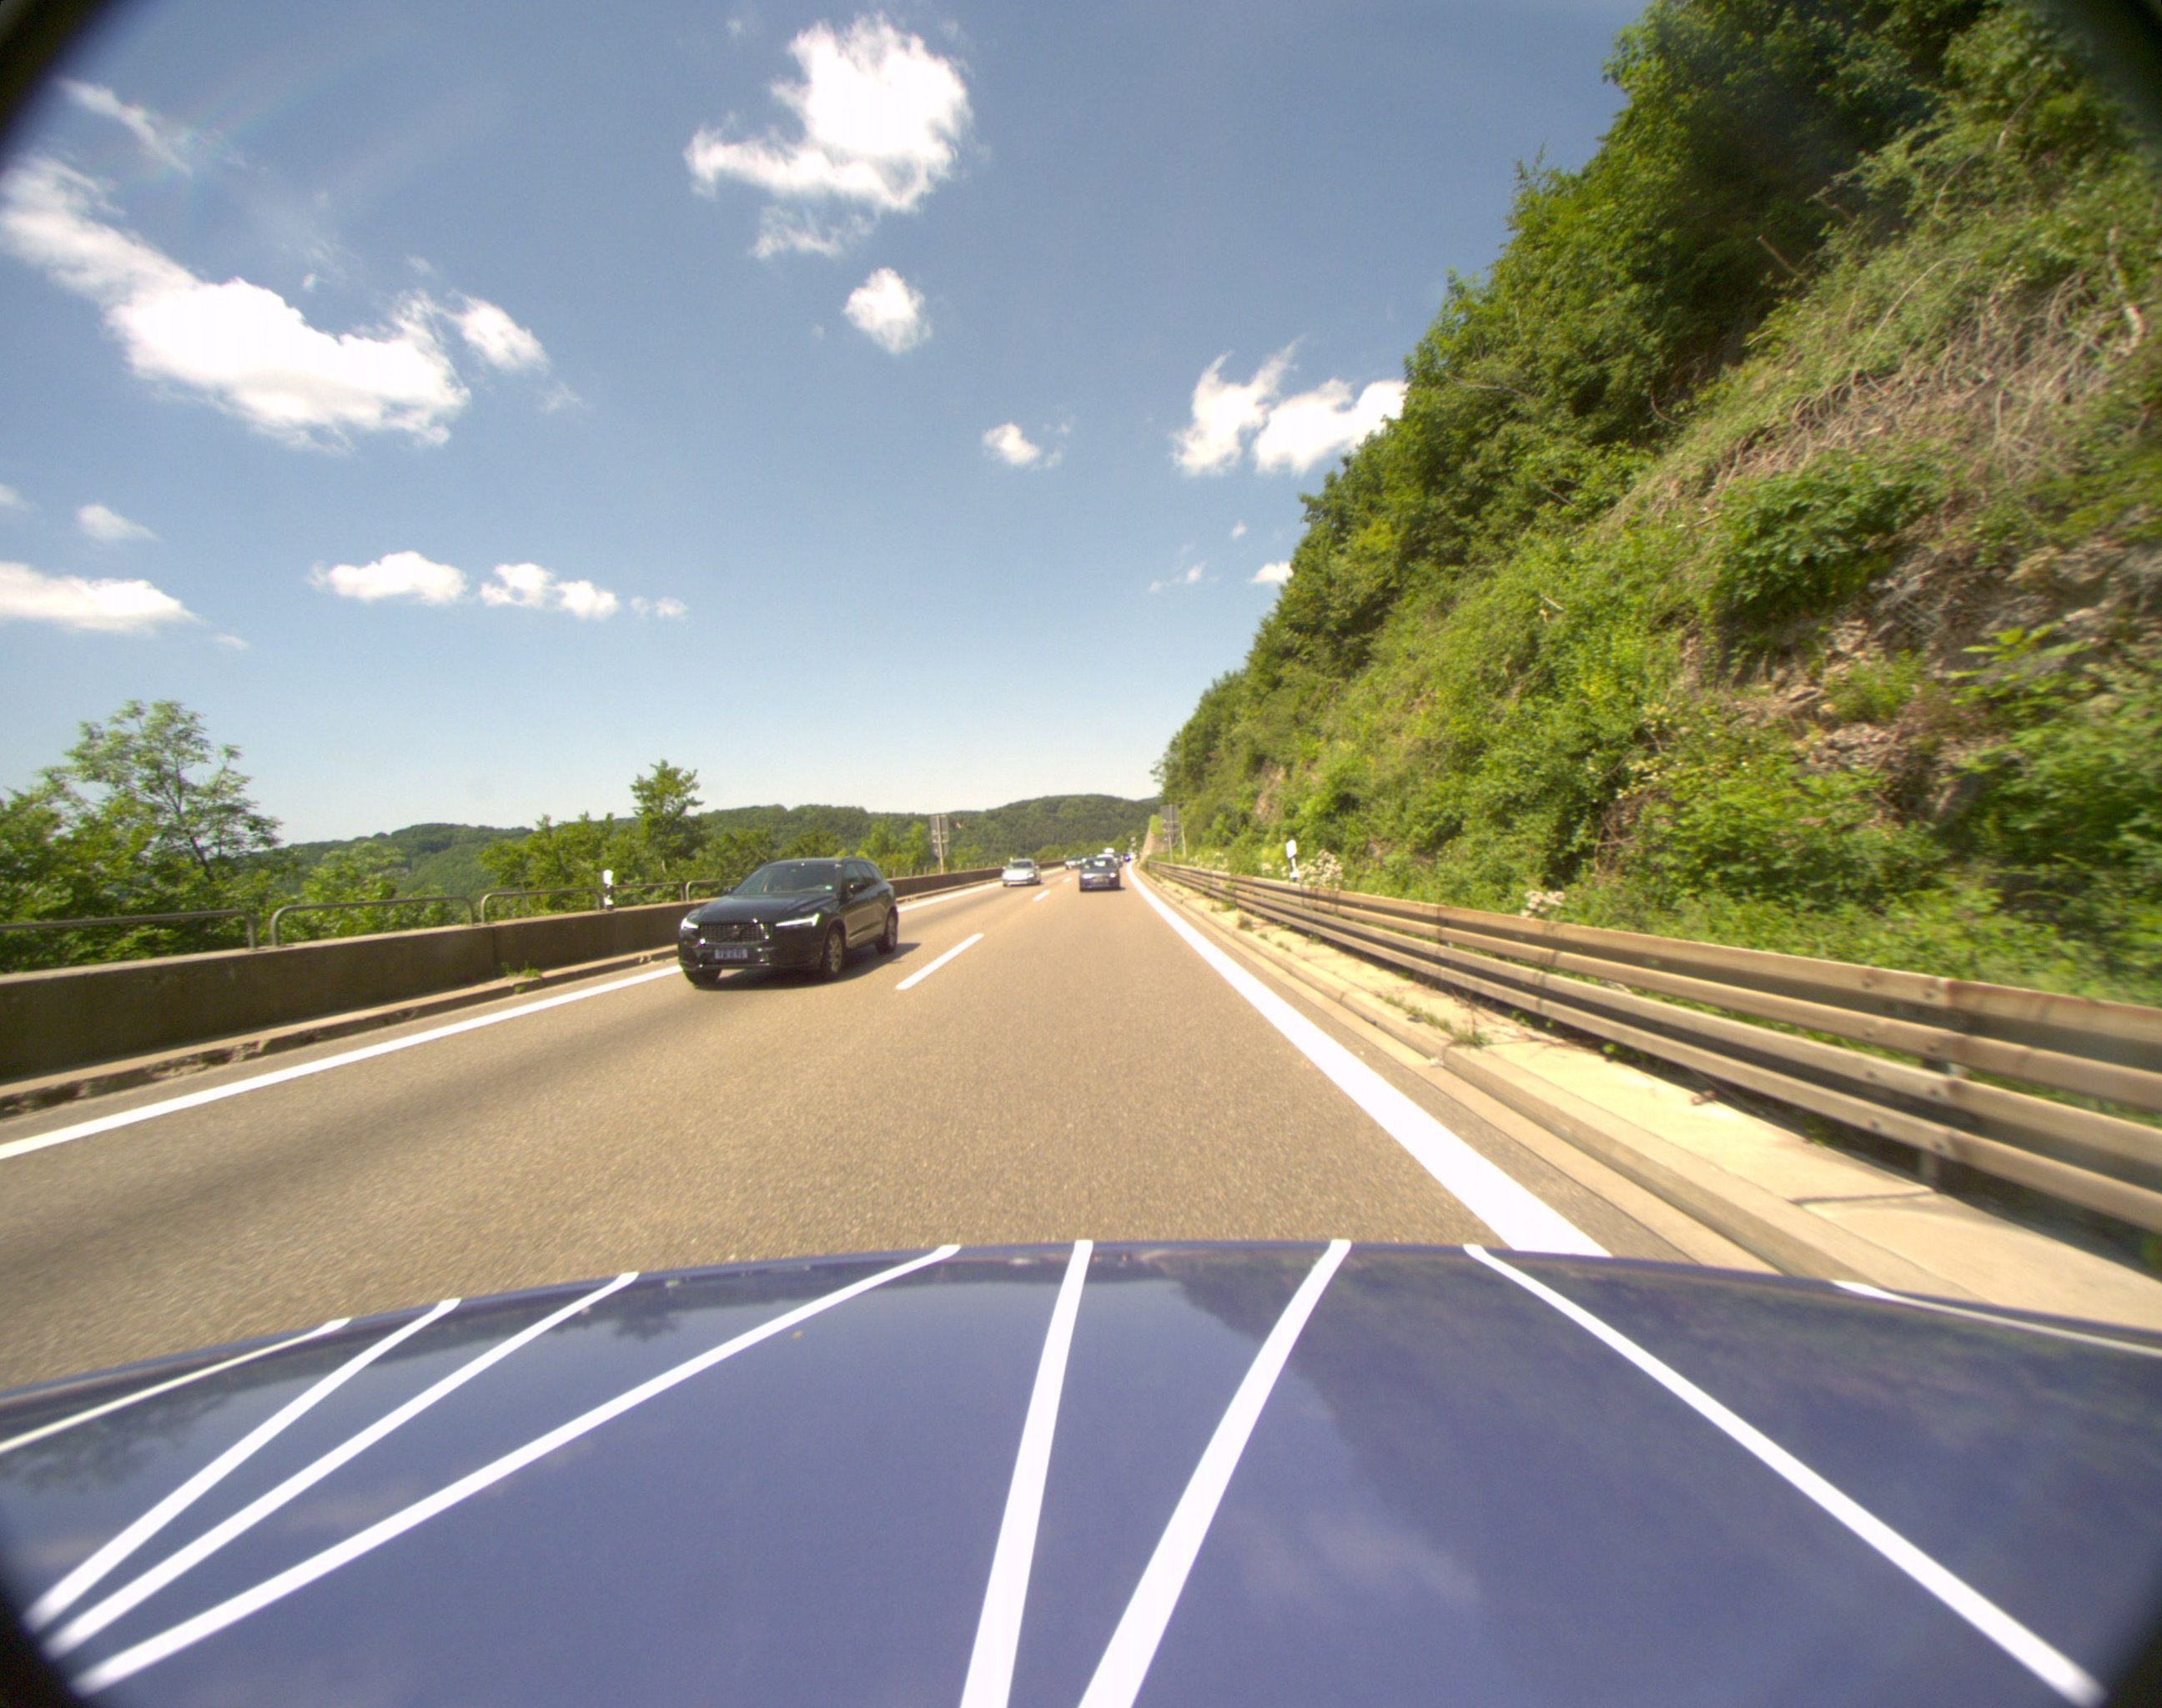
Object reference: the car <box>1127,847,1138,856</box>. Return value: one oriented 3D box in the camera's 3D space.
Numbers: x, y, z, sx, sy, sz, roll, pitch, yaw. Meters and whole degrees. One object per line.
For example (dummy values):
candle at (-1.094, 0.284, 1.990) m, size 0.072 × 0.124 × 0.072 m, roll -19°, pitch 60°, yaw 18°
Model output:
car at (12.038, -0.505, 177.849) m, size 1.997 × 2.002 × 4.002 m, roll -2°, pitch 0°, yaw 9°

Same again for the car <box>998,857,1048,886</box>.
car at (-3.101, 0.911, 41.792) m, size 1.972 × 1.370 × 4.295 m, roll -2°, pitch 1°, yaw 6°

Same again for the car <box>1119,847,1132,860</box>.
car at (7.422, -0.068, 127.454) m, size 1.998 × 2.002 × 4.001 m, roll -2°, pitch 0°, yaw 3°

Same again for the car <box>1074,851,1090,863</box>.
car at (0.149, 0.467, 105.720) m, size 1.775 × 1.565 × 4.002 m, roll -2°, pitch 0°, yaw 6°

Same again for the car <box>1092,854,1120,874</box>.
car at (2.008, 0.804, 62.117) m, size 1.999 × 1.543 × 3.999 m, roll -2°, pitch 0°, yaw -1°

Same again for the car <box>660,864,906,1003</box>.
car at (-4.097, 0.982, 11.412) m, size 1.839 × 1.623 × 4.662 m, roll -1°, pitch -1°, yaw 0°

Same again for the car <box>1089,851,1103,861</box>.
car at (2.436, 0.347, 122.331) m, size 1.775 × 1.565 × 4.002 m, roll -2°, pitch 0°, yaw 6°

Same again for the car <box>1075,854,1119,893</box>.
car at (0.736, 0.786, 32.243) m, size 1.668 × 1.415 × 4.044 m, roll -1°, pitch 1°, yaw 3°

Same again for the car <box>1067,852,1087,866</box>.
car at (-0.406, 0.543, 86.096) m, size 1.875 × 1.565 × 4.001 m, roll -2°, pitch 0°, yaw 6°

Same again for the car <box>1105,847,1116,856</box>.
car at (6.749, -0.602, 171.662) m, size 1.997 × 2.002 × 4.002 m, roll -2°, pitch 0°, yaw 9°

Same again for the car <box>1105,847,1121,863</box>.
car at (4.215, 0.121, 99.514) m, size 1.998 × 2.002 × 4.000 m, roll -2°, pitch 0°, yaw 2°
